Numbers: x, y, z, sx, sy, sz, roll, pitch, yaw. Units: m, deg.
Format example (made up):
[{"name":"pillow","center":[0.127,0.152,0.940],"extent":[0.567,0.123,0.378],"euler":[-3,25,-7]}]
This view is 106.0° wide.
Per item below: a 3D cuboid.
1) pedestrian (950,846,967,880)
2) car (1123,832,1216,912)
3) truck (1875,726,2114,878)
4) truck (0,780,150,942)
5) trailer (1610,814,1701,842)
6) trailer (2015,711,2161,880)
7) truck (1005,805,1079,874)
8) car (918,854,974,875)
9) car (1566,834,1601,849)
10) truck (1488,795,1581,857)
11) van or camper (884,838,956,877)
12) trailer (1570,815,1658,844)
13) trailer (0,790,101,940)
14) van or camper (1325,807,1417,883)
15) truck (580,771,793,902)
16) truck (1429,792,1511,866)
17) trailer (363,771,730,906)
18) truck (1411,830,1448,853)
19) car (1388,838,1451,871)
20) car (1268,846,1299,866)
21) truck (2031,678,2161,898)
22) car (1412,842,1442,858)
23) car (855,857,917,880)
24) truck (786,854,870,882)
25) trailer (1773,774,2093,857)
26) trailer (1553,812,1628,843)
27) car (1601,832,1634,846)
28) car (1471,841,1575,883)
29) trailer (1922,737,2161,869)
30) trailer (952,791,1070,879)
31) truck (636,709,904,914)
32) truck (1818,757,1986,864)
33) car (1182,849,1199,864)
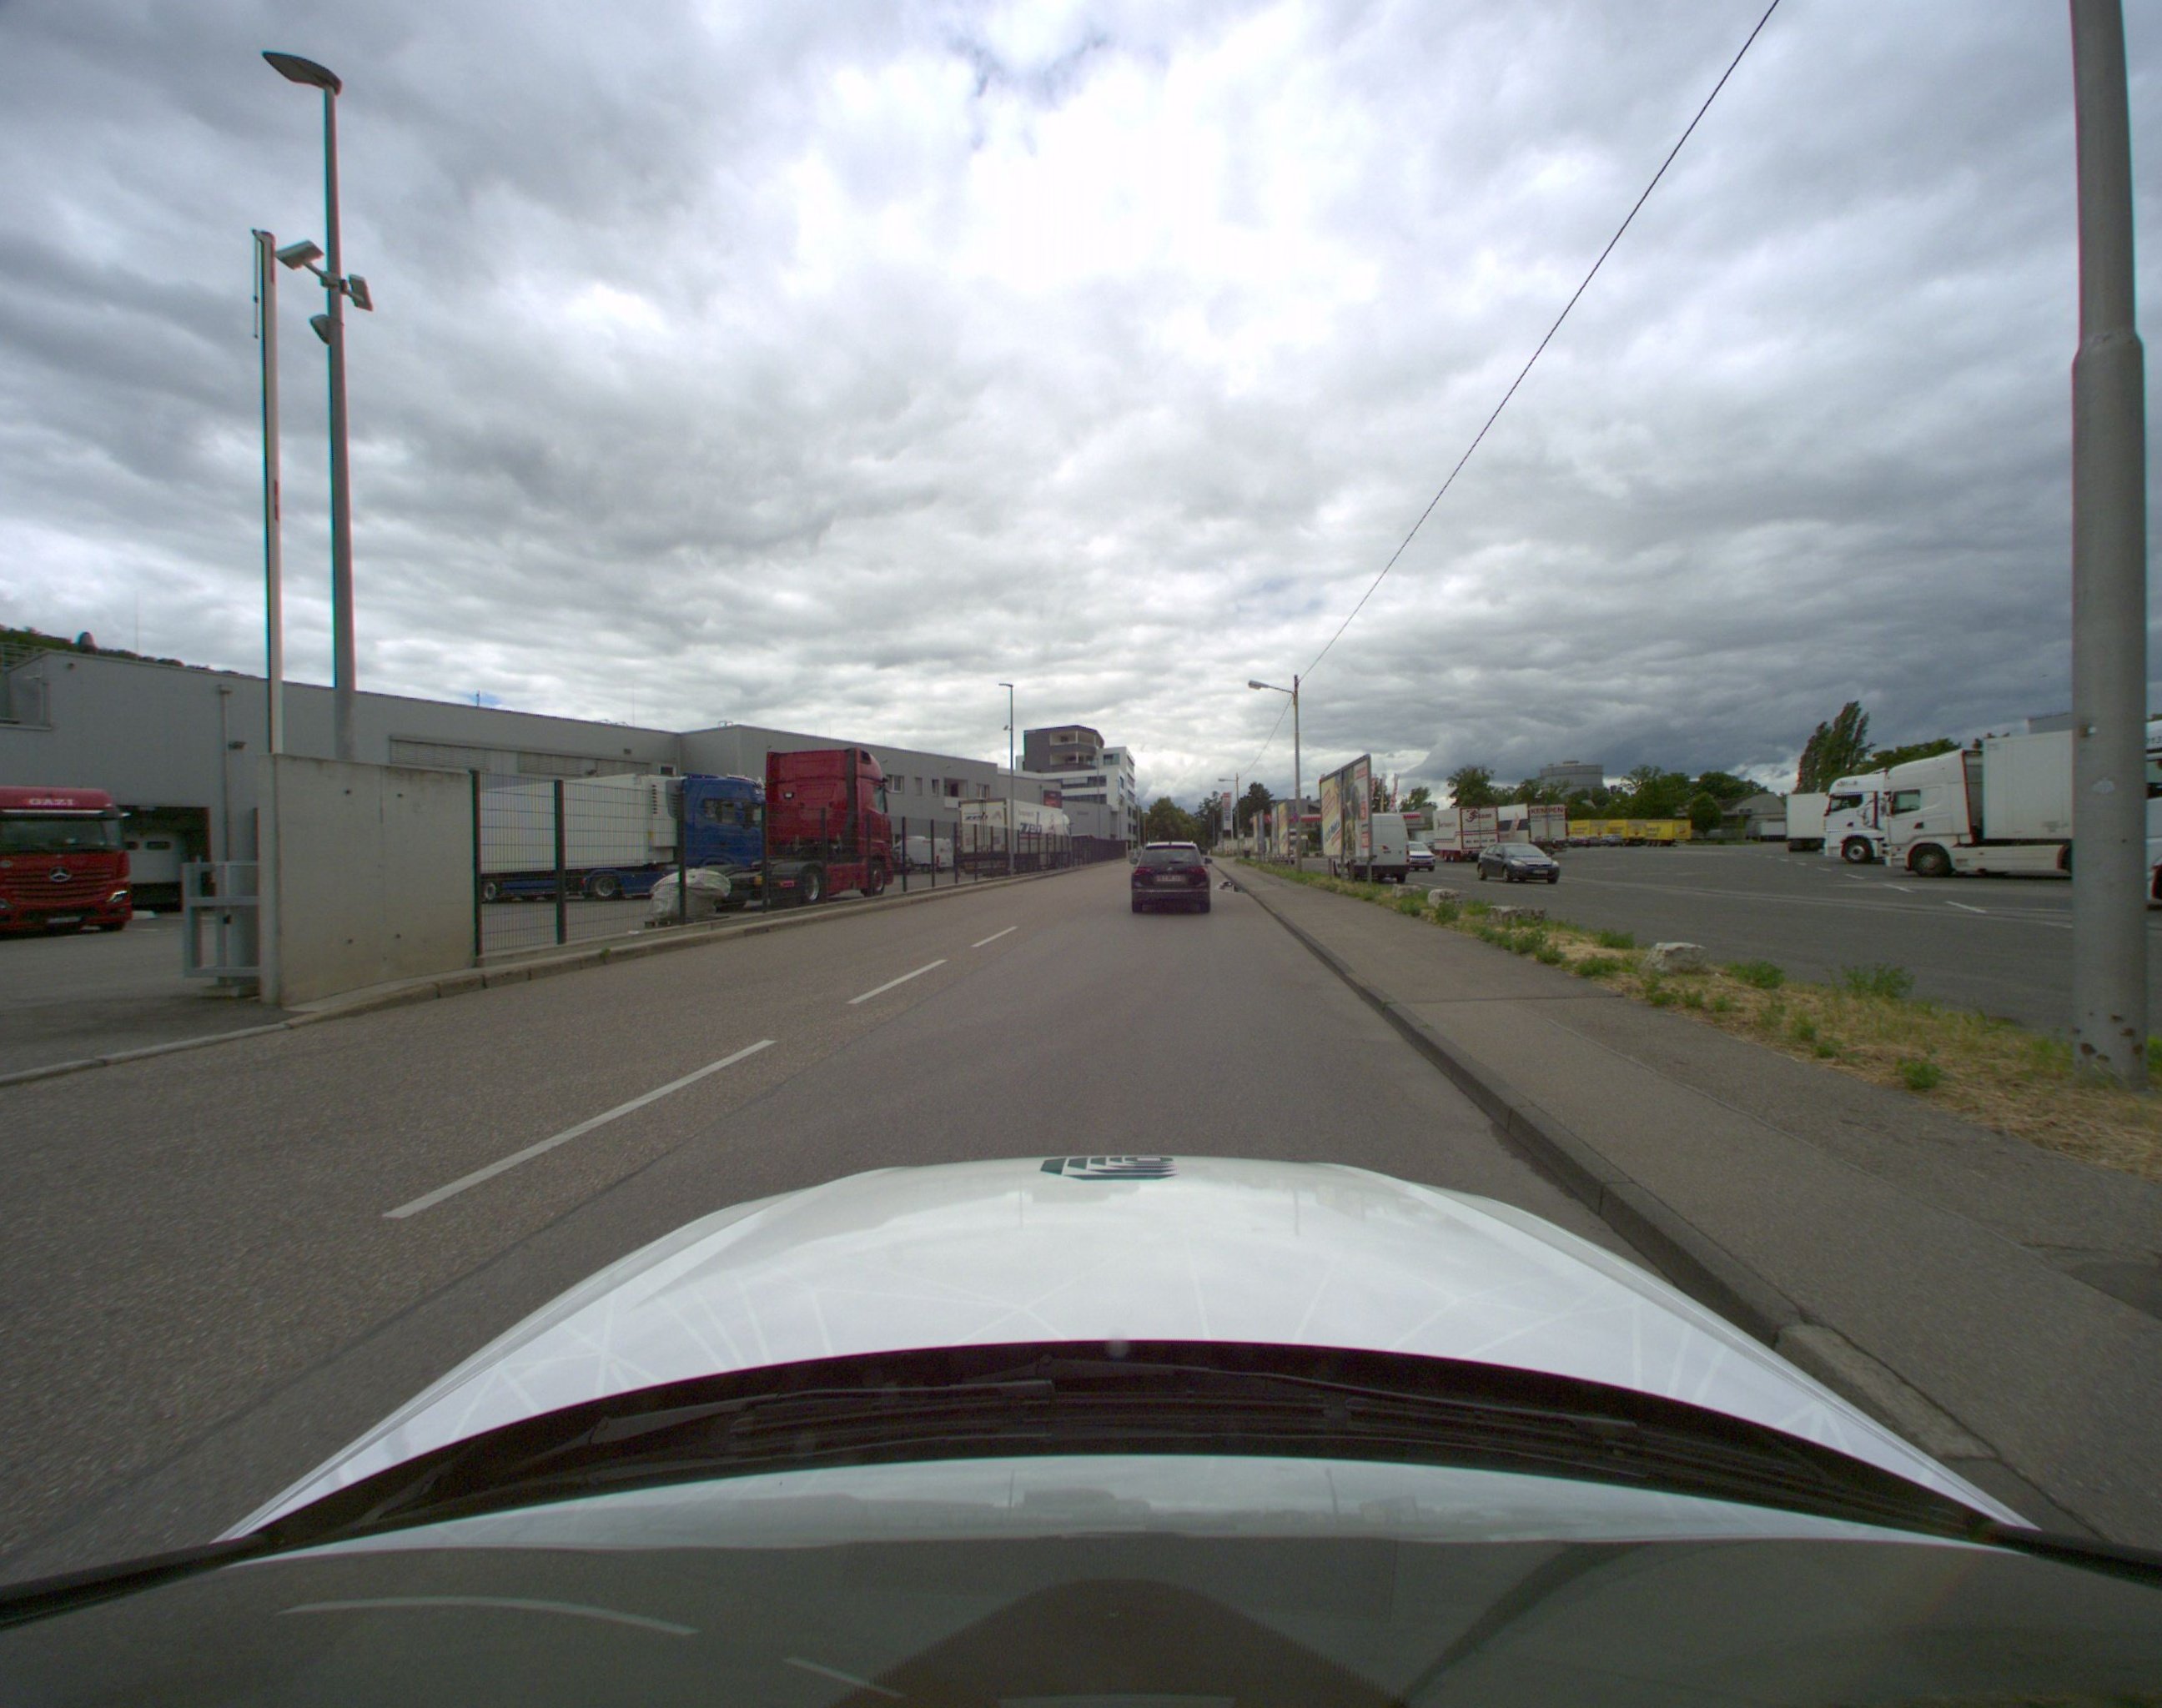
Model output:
[{"name":"pedestrian","center":[-6.794,0.493,45.200],"extent":[0.693,1.829,0.827],"euler":[-1,0,12]},{"name":"car","center":[2.175,0.415,20.007],"extent":[1.983,1.684,4.379],"euler":[-2,-1,6]},{"name":"truck","center":[27.708,-1.503,24.944],"extent":[2.694,4.212,4.071],"euler":[-2,1,-5]},{"name":"truck","center":[-28.218,0.238,21.930],"extent":[5.850,3.928,2.819],"euler":[-2,-1,28]},{"name":"trailer","center":[86.614,-3.768,123.460],"extent":[3.577,3.863,18.073],"euler":[-1,1,9]},{"name":"trailer","center":[28.381,-1.452,16.500],"extent":[2.693,4.179,13.466],"euler":[-2,0,-4]},{"name":"truck","center":[-2.515,-0.915,55.454],"extent":[3.108,4.117,6.962],"euler":[-5,-1,11]},{"name":"car","center":[-10.797,0.838,65.183],"extent":[3.950,1.552,2.012],"euler":[-2,0,27]},{"name":"car","center":[57.898,-1.456,93.908],"extent":[1.982,1.618,4.009],"euler":[-2,0,8]},{"name":"truck","center":[33.061,-1.911,59.864],"extent":[3.287,4.145,8.538],"euler":[-2,0,10]},{"name":"van or camper","center":[-12.068,0.248,60.845],"extent":[4.925,2.762,2.116],"euler":[-2,0,26]},{"name":"trailer","center":[77.497,-3.467,119.179],"extent":[3.577,3.863,18.073],"euler":[-1,1,9]},{"name":"trailer","center":[-34.015,0.432,24.943],"extent":[10.857,4.078,2.809],"euler":[-2,-1,27]},{"name":"van or camper","center":[11.161,-0.313,31.841],"extent":[2.242,2.647,6.129],"euler":[-1,0,9]},{"name":"truck","center":[-12.861,-0.568,27.034],"extent":[5.591,4.020,2.924],"euler":[-1,0,-7]},{"name":"truck","center":[29.135,-1.778,61.459],"extent":[3.287,5.093,8.537],"euler":[-2,0,10]},{"name":"trailer","center":[-19.270,-0.333,29.047],"extent":[13.857,4.183,3.051],"euler":[-1,0,19]},{"name":"truck","center":[49.839,-1.840,116.729],"extent":[3.156,3.145,7.528],"euler":[-1,1,9]},{"name":"car","center":[17.920,0.038,43.287],"extent":[1.880,1.612,4.436],"euler":[-1,0,6]},{"name":"car","center":[15.564,0.153,62.805],"extent":[1.879,1.445,4.439],"euler":[1,0,8]},{"name":"truck","center":[21.633,-1.256,12.918],"extent":[3.065,4.002,8.002],"euler":[-1,-1,-12]},{"name":"car","center":[38.866,-0.389,91.548],"extent":[1.983,1.706,4.195],"euler":[-1,0,6]},{"name":"car","center":[-14.088,1.022,58.776],"extent":[3.950,1.552,2.012],"euler":[-2,0,27]},{"name":"truck","center":[-16.062,0.877,51.742],"extent":[4.867,1.652,2.241],"euler":[-2,0,27]},{"name":"trailer","center":[49.923,-2.067,49.018],"extent":[3.096,4.207,14.385],"euler":[-2,1,-6]},{"name":"trailer","center":[72.525,-3.663,116.495],"extent":[2.854,4.150,14.954],"euler":[-1,1,7]},{"name":"car","center":[68.964,-1.902,104.723],"extent":[1.982,1.618,4.009],"euler":[-2,0,8]},{"name":"car","center":[16.529,0.279,30.710],"extent":[1.880,1.445,4.436],"euler":[1,0,6]},{"name":"trailer","center":[35.491,-1.688,28.225],"extent":[2.758,4.190,8.914],"euler":[-2,1,-8]},{"name":"trailer","center":[-3.736,-0.950,49.004],"extent":[3.113,4.261,14.060],"euler":[-5,-1,10]},{"name":"truck","center":[-7.032,-0.826,19.794],"extent":[2.904,4.020,6.959],"euler":[-1,0,9]},{"name":"truck","center":[34.583,-1.772,34.486],"extent":[2.777,4.215,4.144],"euler":[-2,1,-8]},{"name":"car","center":[14.023,0.308,104.394],"extent":[1.983,1.749,4.008],"euler":[-1,1,7]}]
